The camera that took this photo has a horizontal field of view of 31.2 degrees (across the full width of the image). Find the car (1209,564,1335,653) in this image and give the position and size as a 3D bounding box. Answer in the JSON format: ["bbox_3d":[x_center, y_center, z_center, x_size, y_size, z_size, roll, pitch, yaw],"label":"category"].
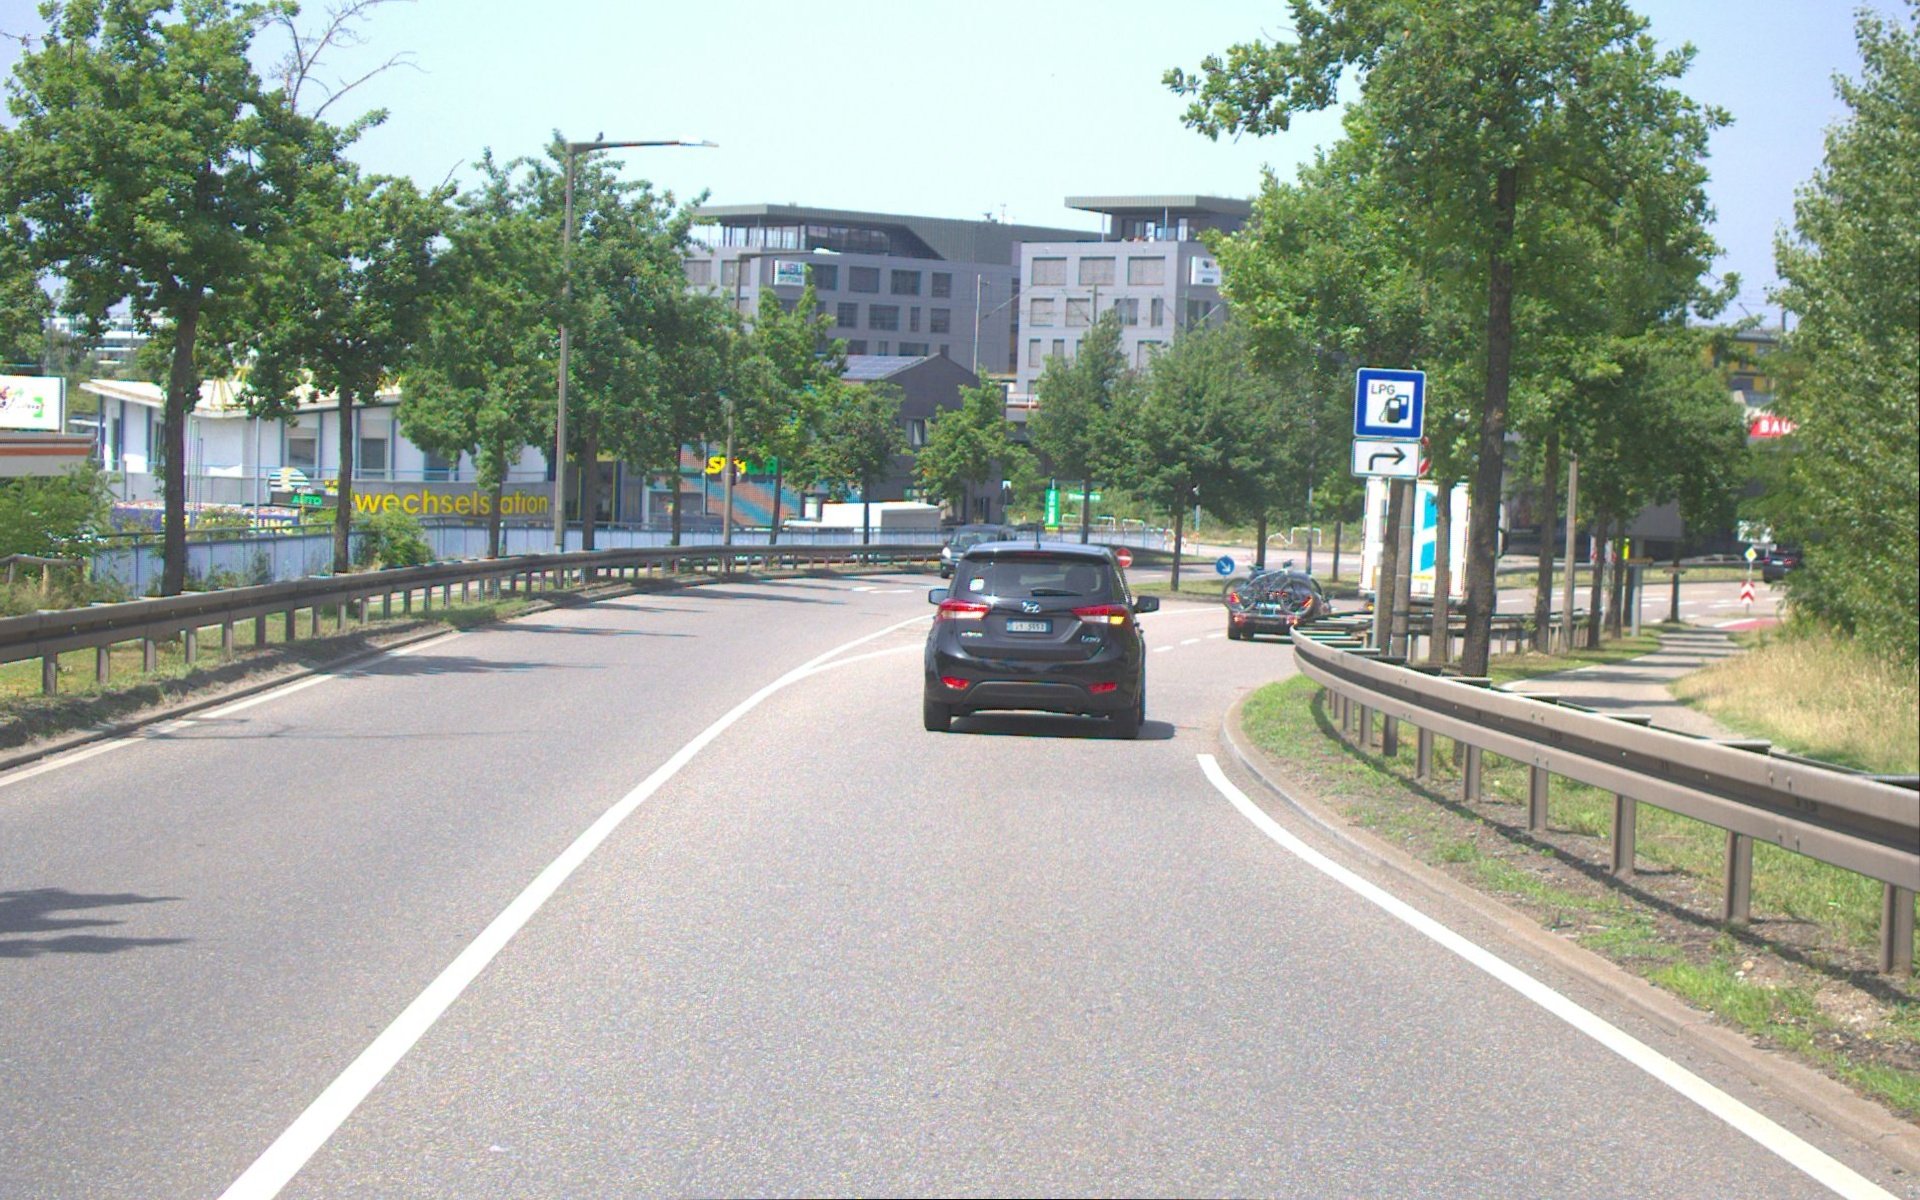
[{"bbox_3d":[6.199,0.136,67.864,1.958,1.628,4.278,2,1,12],"label":"car"}]

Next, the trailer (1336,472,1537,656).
[{"bbox_3d":[12.805,-1.138,90.972,3.080,4.353,14.764,3,3,16],"label":"trailer"}]

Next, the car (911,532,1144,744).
[{"bbox_3d":[0.632,0.261,29.281,1.767,1.593,4.077,3,1,3],"label":"car"}]
